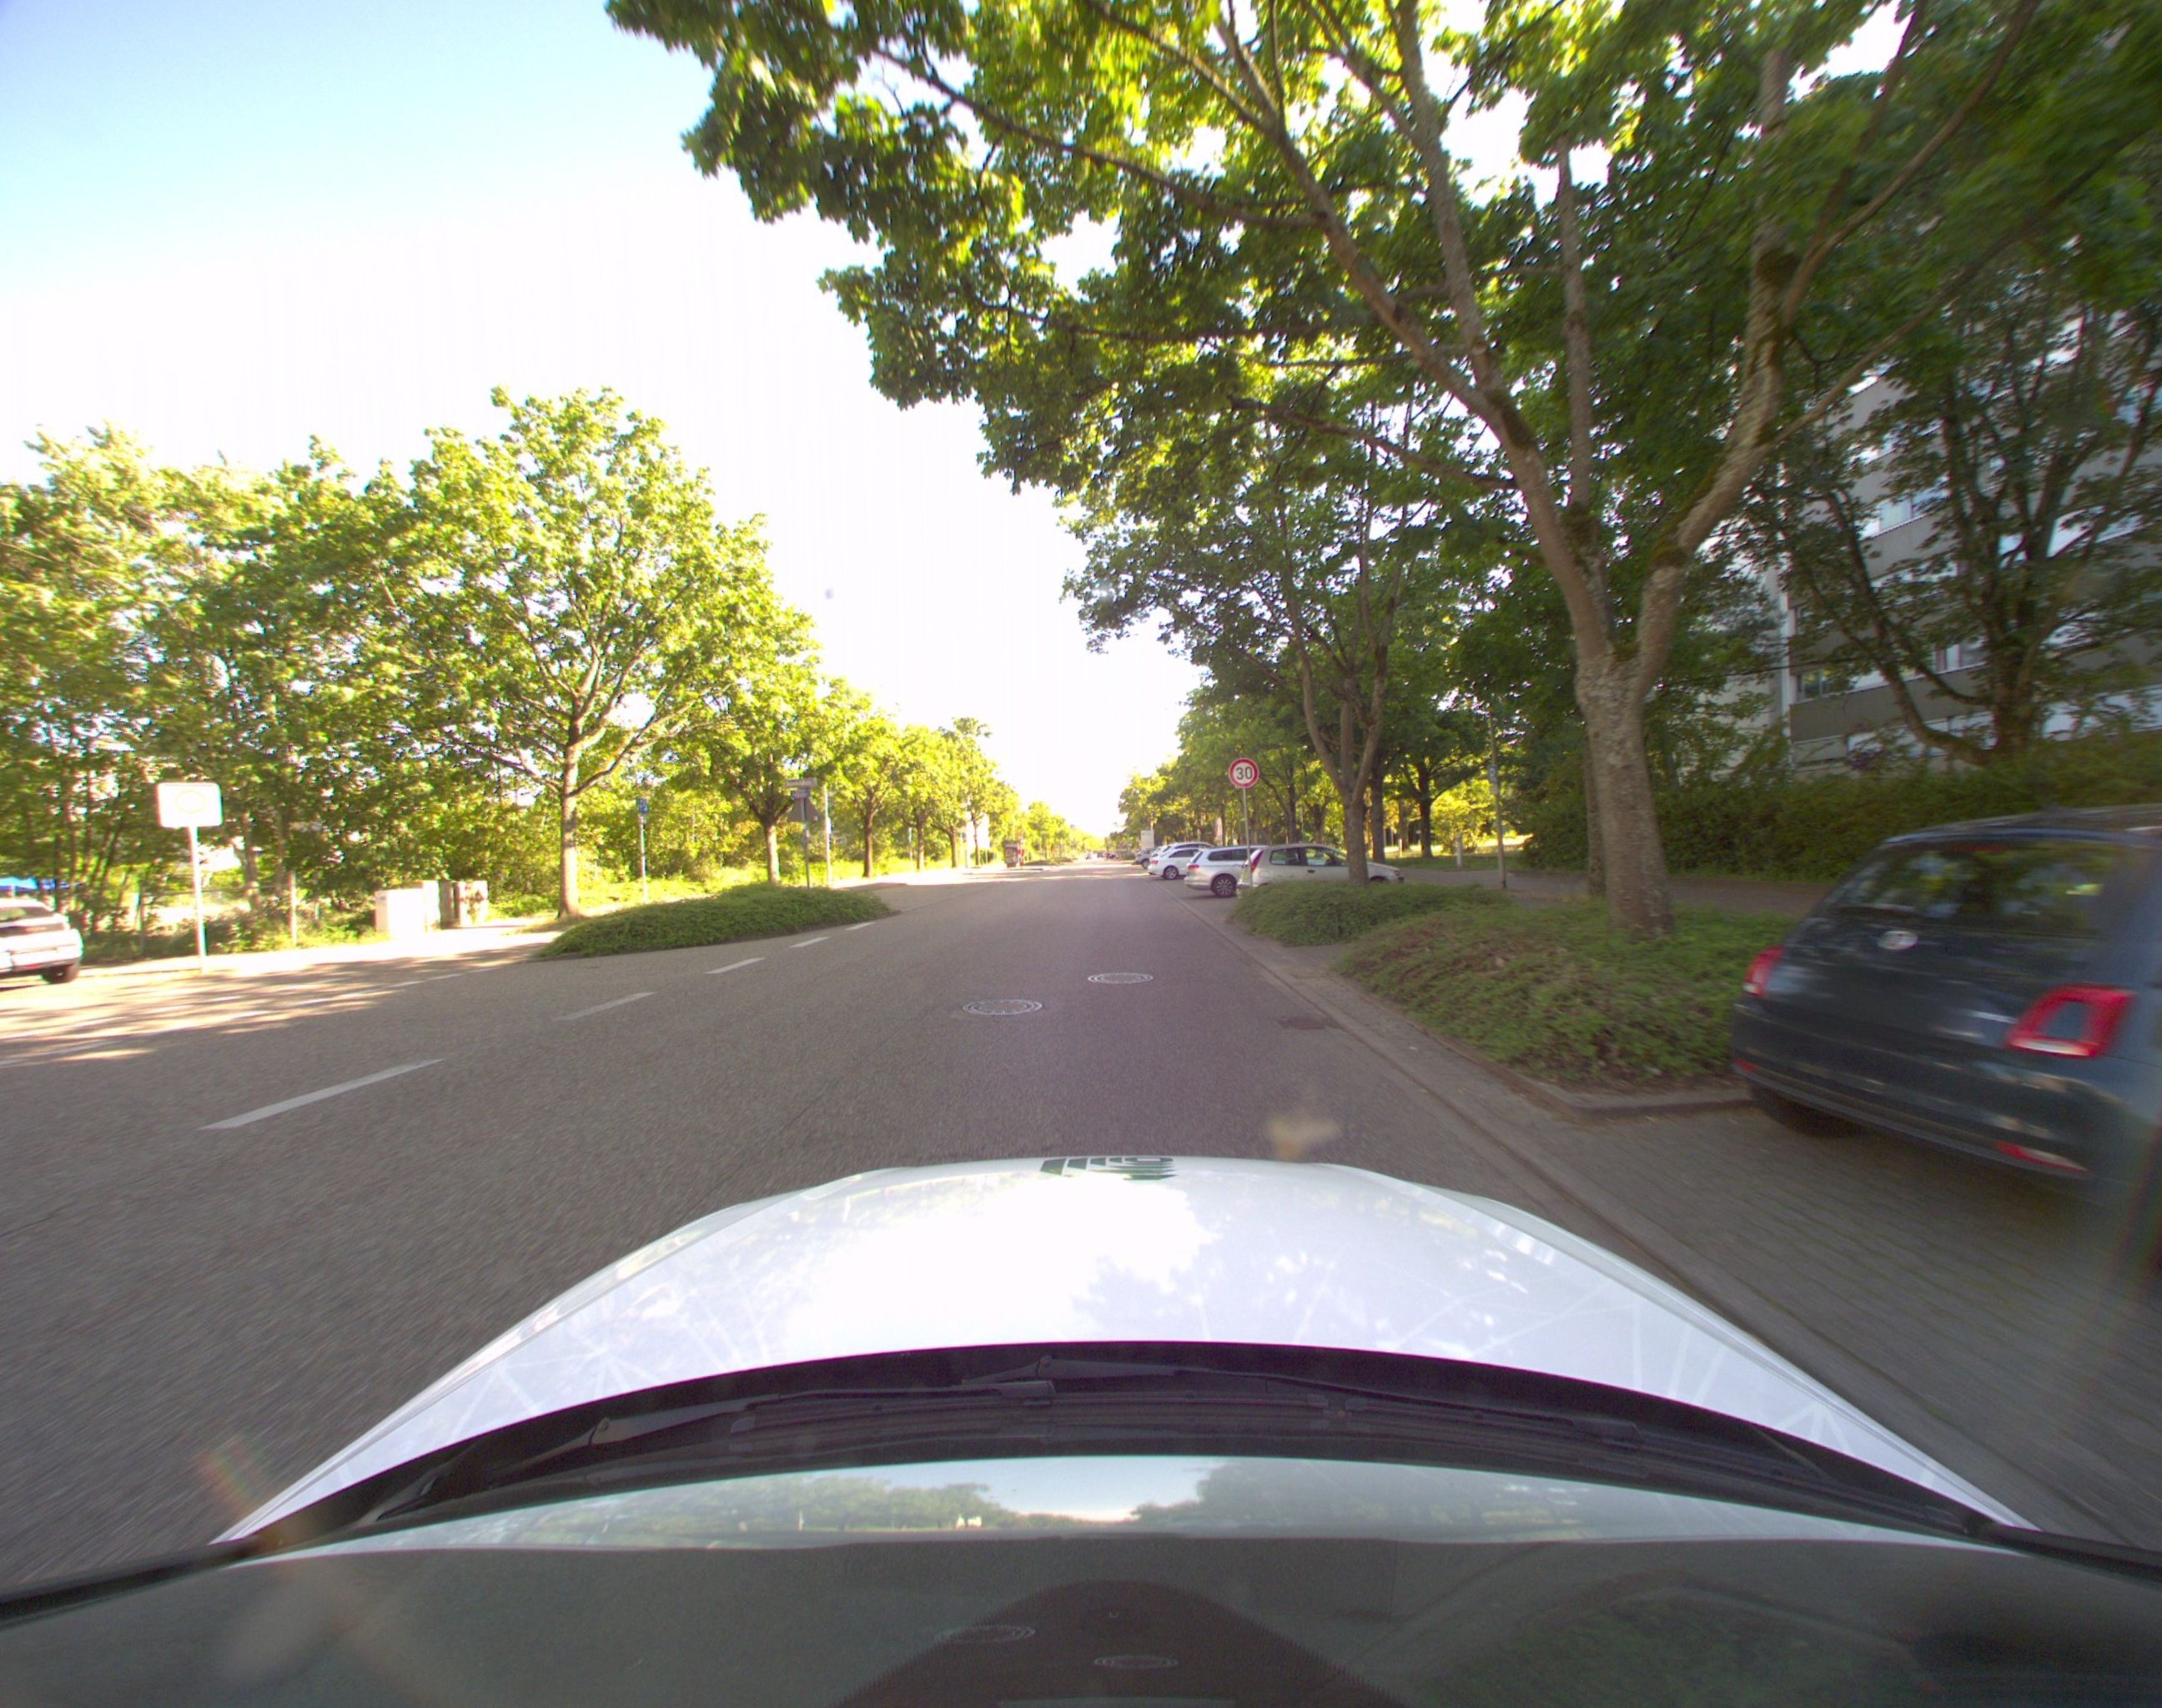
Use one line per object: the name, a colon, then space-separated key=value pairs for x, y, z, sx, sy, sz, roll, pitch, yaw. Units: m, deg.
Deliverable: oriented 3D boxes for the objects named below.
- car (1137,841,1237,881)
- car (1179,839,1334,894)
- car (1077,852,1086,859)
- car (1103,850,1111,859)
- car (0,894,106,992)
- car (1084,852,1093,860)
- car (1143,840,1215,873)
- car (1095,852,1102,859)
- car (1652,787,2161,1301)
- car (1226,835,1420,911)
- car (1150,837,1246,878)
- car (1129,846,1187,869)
car: x=4.868 y=0.327 z=37.745 sx=4.329 sy=1.489 sz=1.737 roll=-4 pitch=0 yaw=-1
car: x=5.013 y=0.356 z=23.789 sx=4.253 sy=1.428 sz=1.831 roll=-2 pitch=0 yaw=6
car: x=0.145 y=0.370 z=217.649 sx=1.986 sy=1.802 sz=4.002 roll=-1 pitch=0 yaw=2
car: x=6.477 y=0.141 z=200.148 sx=1.986 sy=2.013 sz=4.002 roll=-1 pitch=0 yaw=2
car: x=-18.612 y=1.526 z=13.048 sx=4.060 sy=1.450 sz=1.626 roll=-4 pitch=0 yaw=2
car: x=1.660 y=0.441 z=174.194 sx=1.821 sy=1.775 sz=3.742 roll=-1 pitch=0 yaw=2
car: x=5.412 y=0.145 z=45.216 sx=3.677 sy=1.522 sz=1.650 roll=-4 pitch=0 yaw=-1
car: x=4.953 y=0.374 z=229.861 sx=1.986 sy=2.013 sz=4.002 roll=-1 pitch=0 yaw=2
car: x=4.871 y=0.459 z=3.370 sx=3.798 sy=1.499 sz=1.700 roll=-4 pitch=0 yaw=-2
car: x=5.518 y=0.418 z=18.962 sx=3.972 sy=1.451 sz=1.718 roll=-4 pitch=0 yaw=1
car: x=5.774 y=0.161 z=40.430 sx=4.421 sy=1.647 sz=1.816 roll=-5 pitch=0 yaw=-1
car: x=5.849 y=0.265 z=62.106 sx=4.149 sy=1.428 sz=2.001 roll=-5 pitch=0 yaw=1
